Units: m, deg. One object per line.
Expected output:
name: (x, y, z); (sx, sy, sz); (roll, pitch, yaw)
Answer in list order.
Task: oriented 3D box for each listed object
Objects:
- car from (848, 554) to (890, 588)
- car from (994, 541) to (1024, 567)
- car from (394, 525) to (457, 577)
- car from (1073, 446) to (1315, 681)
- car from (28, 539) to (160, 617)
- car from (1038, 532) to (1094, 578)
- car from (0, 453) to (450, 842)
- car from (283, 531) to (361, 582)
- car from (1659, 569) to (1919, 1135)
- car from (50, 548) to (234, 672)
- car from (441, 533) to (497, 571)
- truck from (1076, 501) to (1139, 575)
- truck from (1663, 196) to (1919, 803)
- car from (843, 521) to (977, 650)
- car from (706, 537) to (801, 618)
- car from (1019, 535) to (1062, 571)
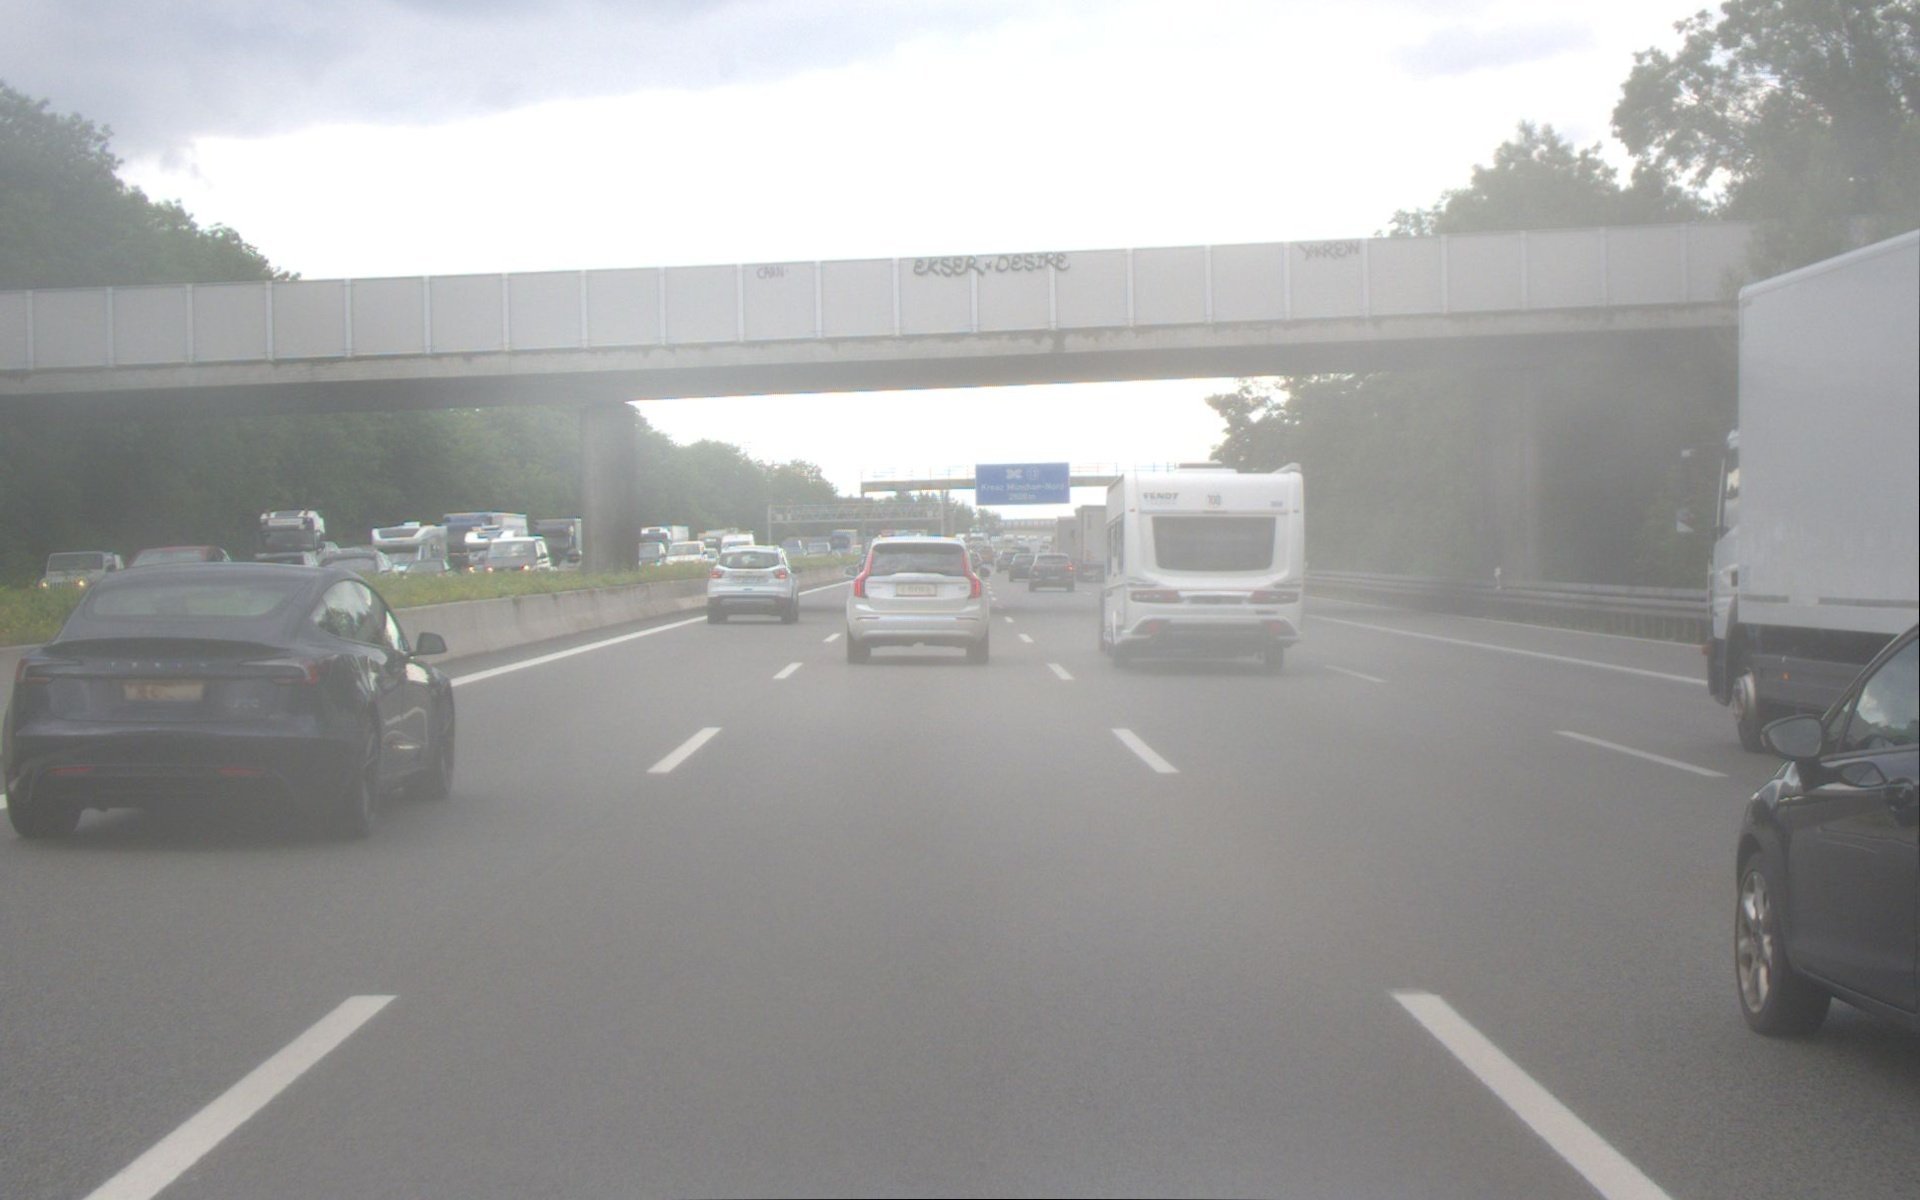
car: (-3.967, -1.276, 150.188); (1.781, 1.476, 4.353); (0, 1, -1)
car: (3.453, -3.262, 243.088); (2.043, 1.817, 4.904); (0, 1, 0)
car: (-21.182, -1.952, 136.362); (1.993, 2.007, 4.000); (0, 1, -2)
car: (3.003, -0.517, 46.068); (2.567, 2.885, 7.534); (0, 1, -1)
car: (-22.232, -0.587, 88.458); (2.220, 1.945, 4.829); (0, 1, -1)
car: (4.262, -1.829, 138.507); (2.043, 1.817, 4.904); (0, 1, -1)
car: (-4.096, 0.175, 18.642); (1.993, 1.814, 5.163); (0, 1, -1)
car: (-24.911, -1.729, 134.364); (2.220, 1.945, 4.829); (0, 1, -1)
car: (3.358, 0.636, 9.623); (1.885, 1.402, 4.283); (0, 1, -1)
car: (-13.869, 0.125, 58.541); (2.043, 2.007, 4.789); (0, 1, -1)
car: (-25.269, -2.490, 177.134); (2.220, 1.945, 4.829); (0, 1, -1)
truck: (7.730, -3.270, 181.172); (2.906, 3.797, 7.274); (0, 1, -1)
truck: (7.400, -0.652, 23.484); (3.133, 3.697, 9.848); (0, 1, 0)
car: (-0.676, -0.235, 48.105); (1.781, 1.710, 4.353); (0, 1, 0)
car: (-4.471, -0.517, 75.032); (1.815, 1.684, 4.852); (0, 1, -1)
car: (4.119, -2.452, 177.512); (2.043, 1.817, 4.904); (0, 1, -1)
